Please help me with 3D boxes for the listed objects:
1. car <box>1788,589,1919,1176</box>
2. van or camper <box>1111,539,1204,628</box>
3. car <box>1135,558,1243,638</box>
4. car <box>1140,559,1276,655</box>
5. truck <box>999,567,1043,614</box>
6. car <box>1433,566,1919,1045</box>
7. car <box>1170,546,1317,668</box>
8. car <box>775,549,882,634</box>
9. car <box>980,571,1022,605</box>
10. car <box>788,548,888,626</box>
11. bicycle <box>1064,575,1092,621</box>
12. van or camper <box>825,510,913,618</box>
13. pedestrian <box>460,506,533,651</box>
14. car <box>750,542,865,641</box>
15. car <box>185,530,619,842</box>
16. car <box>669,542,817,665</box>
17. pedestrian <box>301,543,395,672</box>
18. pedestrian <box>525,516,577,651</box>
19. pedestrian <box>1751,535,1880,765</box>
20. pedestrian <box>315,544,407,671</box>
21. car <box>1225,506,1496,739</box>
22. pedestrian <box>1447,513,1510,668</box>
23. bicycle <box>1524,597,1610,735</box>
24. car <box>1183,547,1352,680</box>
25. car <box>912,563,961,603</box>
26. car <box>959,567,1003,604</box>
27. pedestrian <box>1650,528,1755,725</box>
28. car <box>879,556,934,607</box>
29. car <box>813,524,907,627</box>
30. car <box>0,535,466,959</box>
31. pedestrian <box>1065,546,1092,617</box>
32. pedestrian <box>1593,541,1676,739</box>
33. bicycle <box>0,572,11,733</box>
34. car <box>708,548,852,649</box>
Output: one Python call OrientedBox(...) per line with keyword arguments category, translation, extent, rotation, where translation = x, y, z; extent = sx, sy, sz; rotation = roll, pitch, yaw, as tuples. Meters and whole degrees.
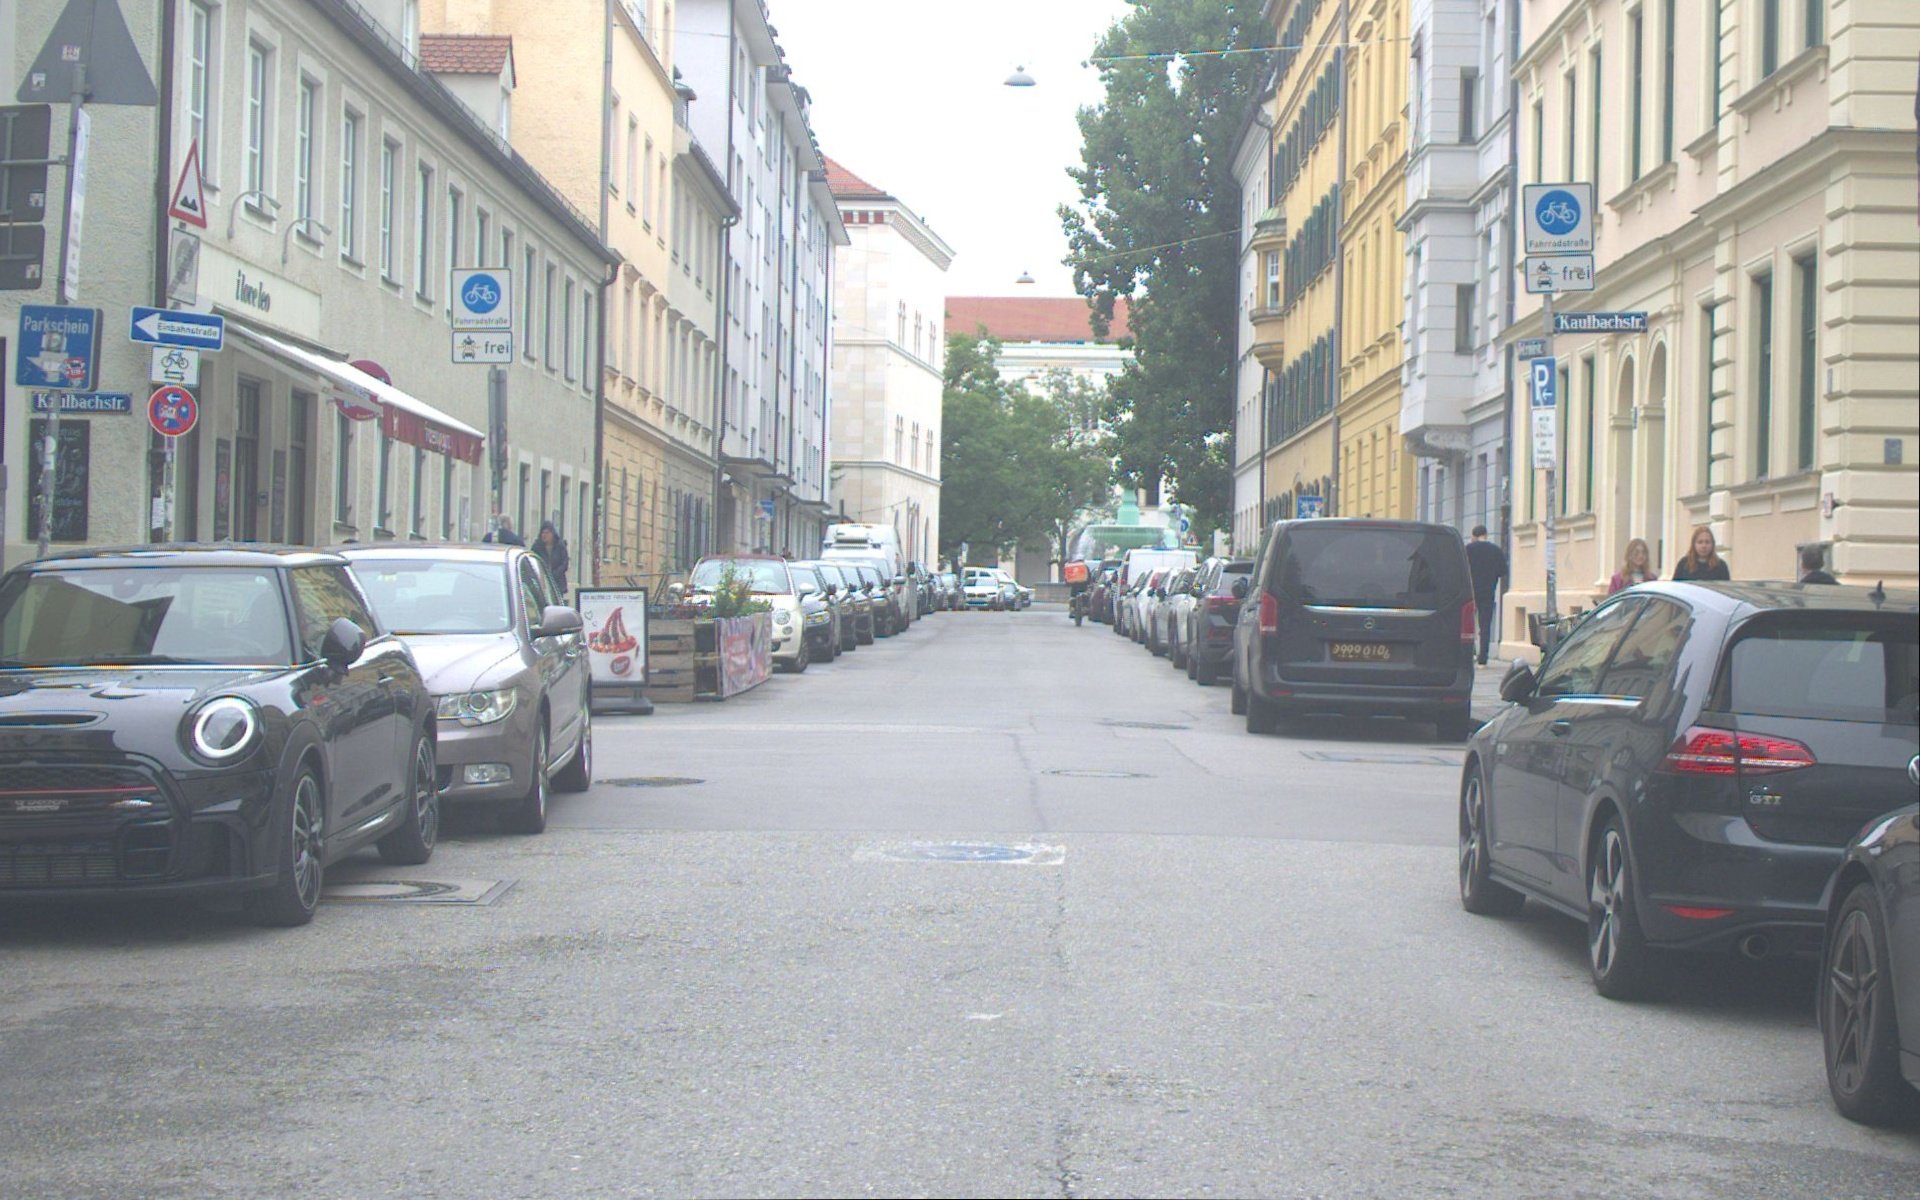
OrientedBox(category="car", translation=(3.222, 0.773, 7.476), extent=(1.646, 1.420, 4.510), rotation=(3, 1, 0))
OrientedBox(category="van or camper", translation=(4.337, -0.370, 76.118), extent=(1.833, 1.865, 5.079), rotation=(1, 0, 1))
OrientedBox(category="car", translation=(4.397, -0.046, 66.505), extent=(1.708, 1.449, 4.097), rotation=(1, 0, -1))
OrientedBox(category="car", translation=(3.850, 0.094, 53.958), extent=(1.708, 1.400, 4.208), rotation=(1, 0, -1))
OrientedBox(category="truck", translation=(3.090, -0.449, 173.471), extent=(2.121, 2.240, 6.185), rotation=(1, -1, 1))
OrientedBox(category="car", translation=(2.994, 0.652, 12.975), extent=(1.675, 1.420, 4.204), rotation=(3, 1, -1))
OrientedBox(category="car", translation=(3.900, 0.082, 47.849), extent=(1.743, 1.578, 4.466), rotation=(1, 0, 1))
OrientedBox(category="car", translation=(-2.331, -0.178, 60.633), extent=(1.816, 1.436, 4.132), rotation=(0, 1, -3))
OrientedBox(category="car", translation=(1.892, -0.553, 158.342), extent=(1.707, 1.576, 3.862), rotation=(0, 0, 4))
OrientedBox(category="car", translation=(-2.302, -0.257, 65.670), extent=(1.754, 1.404, 4.103), rotation=(1, 0, 0))
OrientedBox(category="bicycle", translation=(2.881, -0.037, 84.097), extent=(0.675, 1.091, 1.760), rotation=(1, -1, 2))
OrientedBox(category="van or camper", translation=(-1.975, -0.788, 76.030), extent=(1.754, 2.273, 5.273), rotation=(1, 0, 0))
OrientedBox(category="pedestrian", translation=(-6.153, -0.275, 45.668), extent=(0.822, 1.891, 0.827), rotation=(1, -1, 0))
OrientedBox(category="car", translation=(-2.428, -0.149, 55.462), extent=(1.754, 1.491, 4.201), rotation=(1, 0, -2))
OrientedBox(category="car", translation=(-2.867, 0.369, 18.641), extent=(1.679, 1.466, 4.951), rotation=(0, 1, -2))
OrientedBox(category="car", translation=(-2.756, 0.026, 44.308), extent=(1.754, 1.470, 3.714), rotation=(2, 0, -2))
OrientedBox(category="pedestrian", translation=(-6.212, 0.083, 34.924), extent=(0.803, 1.285, 0.693), rotation=(1, -1, 1))
OrientedBox(category="pedestrian", translation=(-5.430, -0.213, 45.667), extent=(0.528, 1.776, 0.877), rotation=(1, -1, 1))
OrientedBox(category="pedestrian", translation=(6.527, 0.380, 26.271), extent=(0.719, 1.711, 1.004), rotation=(1, -1, 0))
OrientedBox(category="pedestrian", translation=(-6.209, 0.081, 35.648), extent=(0.803, 1.286, 0.693), rotation=(1, -1, 1))
OrientedBox(category="car", translation=(3.508, 0.155, 31.016), extent=(1.998, 1.858, 5.253), rotation=(2, 1, 2))
OrientedBox(category="pedestrian", translation=(6.762, -0.118, 44.855), extent=(0.669, 1.974, 0.708), rotation=(-2, -1, 2))
OrientedBox(category="bicycle", translation=(5.161, 0.544, 29.279), extent=(0.465, 1.049, 1.729), rotation=(-1, 3, 2))
OrientedBox(category="car", translation=(3.731, 0.145, 42.298), extent=(1.754, 1.516, 4.274), rotation=(1, 0, 1))
OrientedBox(category="car", translation=(-0.944, -0.679, 137.636), extent=(1.707, 1.604, 3.862), rotation=(0, 0, 3))
OrientedBox(category="car", translation=(0.936, -0.644, 152.230), extent=(1.707, 1.576, 3.862), rotation=(0, 0, 4))
OrientedBox(category="pedestrian", translation=(6.232, 0.222, 28.887), extent=(0.658, 1.615, 0.979), rotation=(1, -1, 0))
OrientedBox(category="car", translation=(-1.696, -0.595, 109.888), extent=(1.706, 1.604, 3.863), rotation=(0, 0, 0))
OrientedBox(category="car", translation=(-2.083, -0.501, 70.627), extent=(1.754, 1.988, 4.626), rotation=(1, 0, -3))
OrientedBox(category="car", translation=(-3.200, 0.479, 13.952), extent=(1.679, 1.466, 4.097), rotation=(0, 1, 2))
OrientedBox(category="pedestrian", translation=(2.892, -0.458, 84.110), extent=(0.642, 1.708, 0.842), rotation=(1, -1, 2))
OrientedBox(category="pedestrian", translation=(5.661, 0.336, 28.873), extent=(0.472, 1.619, 1.069), rotation=(1, -1, 0))
OrientedBox(category="bicycle", translation=(-7.039, 0.292, 21.945), extent=(1.818, 1.031, 0.392), rotation=(3, 1, 4))
OrientedBox(category="car", translation=(-2.553, -0.052, 49.630), extent=(1.798, 1.335, 4.685), rotation=(1, 1, 0))
